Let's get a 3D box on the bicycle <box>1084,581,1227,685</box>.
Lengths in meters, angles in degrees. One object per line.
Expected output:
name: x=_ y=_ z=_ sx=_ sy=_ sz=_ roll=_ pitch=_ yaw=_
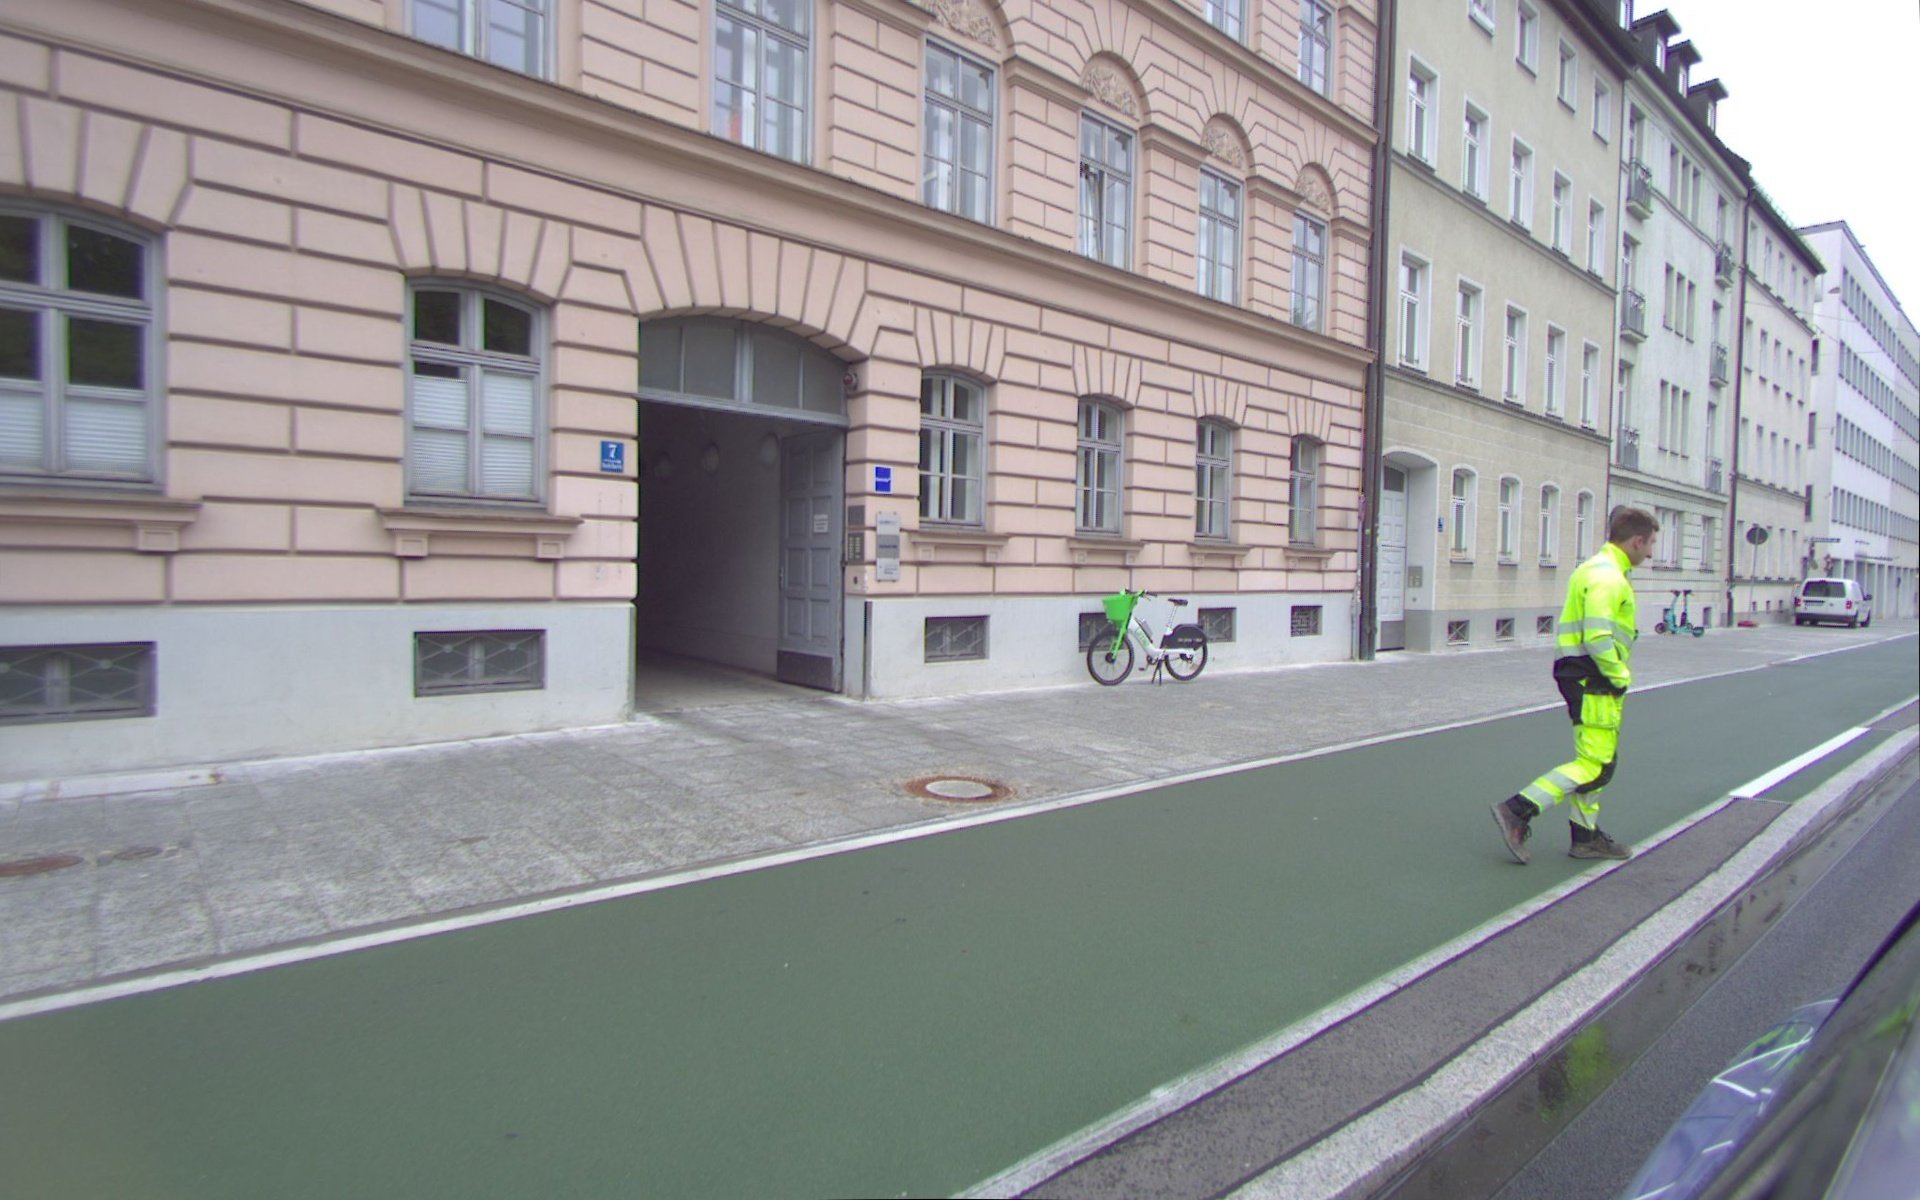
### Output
bicycle: x=2.378 y=0.379 z=12.269 sx=1.690 sy=1.191 sz=0.558 roll=0 pitch=2 yaw=-26

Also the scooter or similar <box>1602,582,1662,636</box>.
scooter or similar: x=16.146 y=0.208 z=24.329 sx=1.055 sy=1.260 sz=0.554 roll=1 pitch=2 yaw=-6

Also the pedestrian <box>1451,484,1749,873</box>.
pedestrian: x=3.224 y=0.366 z=5.189 sx=0.973 sy=1.825 sz=0.815 roll=1 pitch=0 yaw=-1

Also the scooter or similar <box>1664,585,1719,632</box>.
scooter or similar: x=19.728 y=0.222 z=27.309 sx=1.064 sy=1.207 sz=0.451 roll=2 pitch=2 yaw=20

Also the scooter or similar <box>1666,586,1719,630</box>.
scooter or similar: x=20.538 y=0.216 z=28.383 sx=1.059 sy=1.207 sz=0.436 roll=2 pitch=2 yaw=10

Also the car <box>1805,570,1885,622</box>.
car: x=33.330 y=-0.177 z=38.094 sx=3.931 sy=1.854 sz=1.765 roll=-1 pitch=2 yaw=-42
